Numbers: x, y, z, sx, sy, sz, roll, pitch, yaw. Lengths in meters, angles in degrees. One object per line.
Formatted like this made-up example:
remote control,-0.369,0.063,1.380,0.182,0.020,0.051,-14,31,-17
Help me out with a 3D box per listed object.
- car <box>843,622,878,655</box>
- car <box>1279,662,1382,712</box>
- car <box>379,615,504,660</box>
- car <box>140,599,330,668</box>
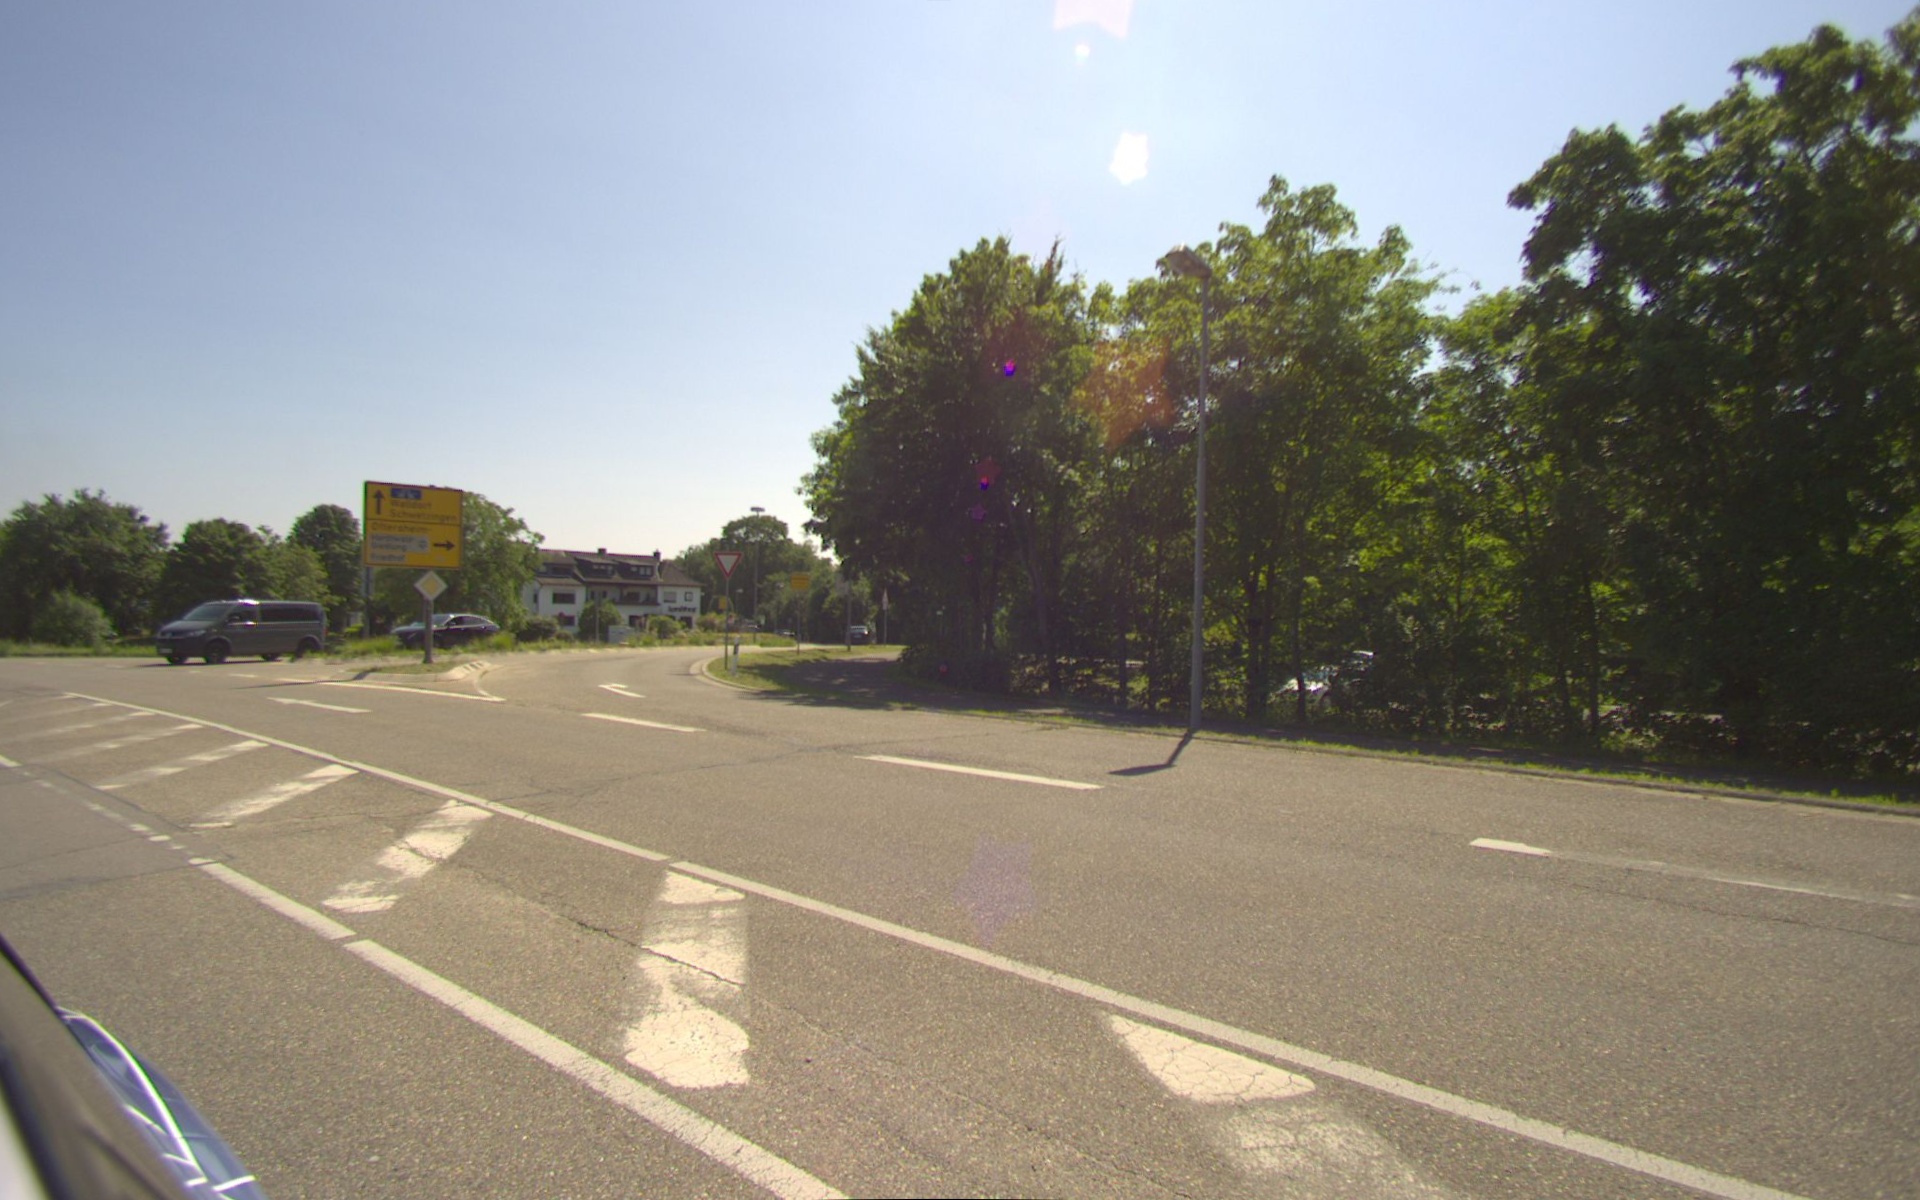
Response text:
car,-6.737,2.589,68.720,1.972,2.029,4.000,-1,0,0
car,13.375,3.074,36.448,4.054,1.504,1.757,1,0,-41
car,-20.260,1.428,39.748,1.737,1.658,4.344,-2,-1,22
car,-23.130,1.057,32.544,1.983,2.029,4.737,-1,-1,18
